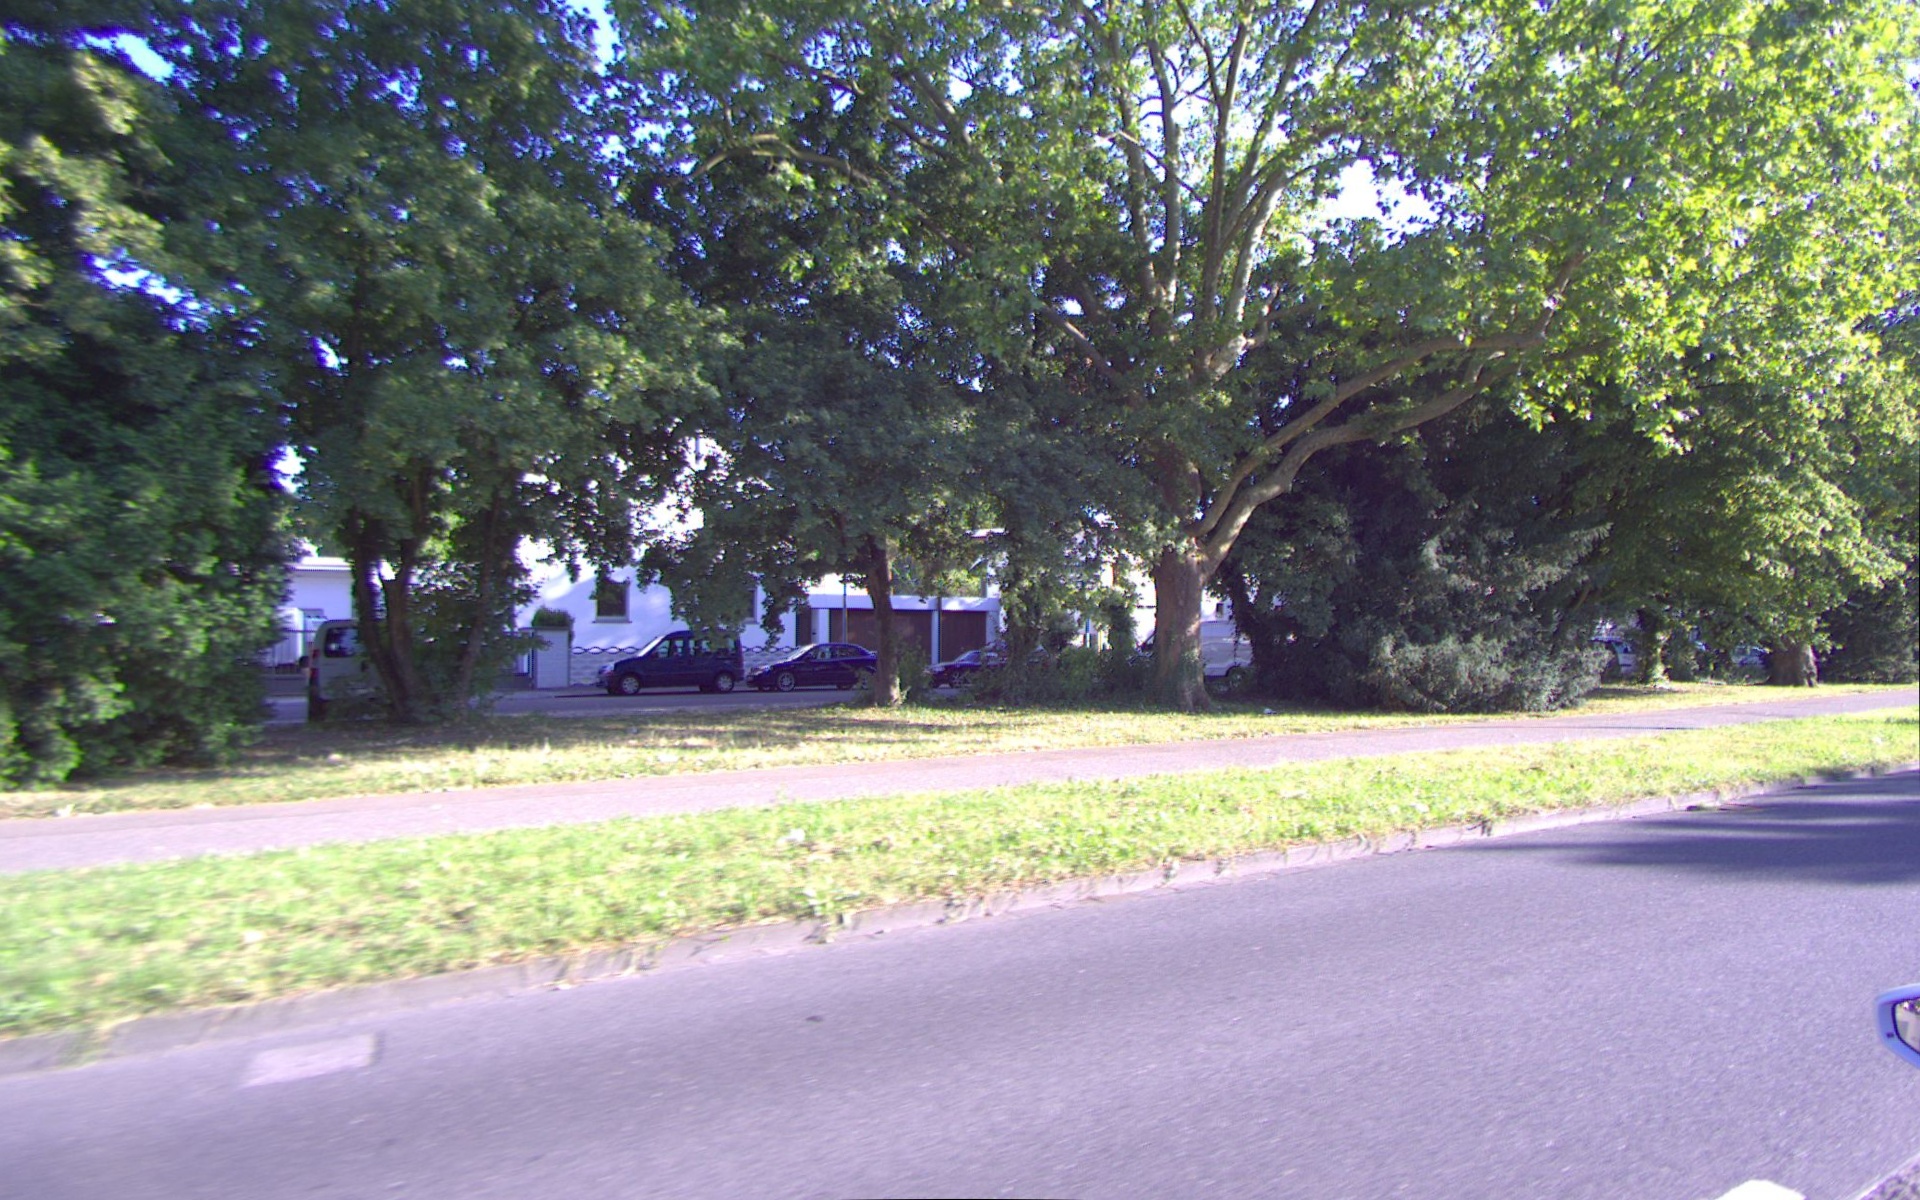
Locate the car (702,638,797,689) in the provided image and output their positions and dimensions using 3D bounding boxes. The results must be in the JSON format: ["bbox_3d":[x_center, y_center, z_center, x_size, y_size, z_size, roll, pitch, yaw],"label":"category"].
[{"bbox_3d":[-7.071,2.055,33.494,1.903,1.572,3.967,2,-2,-31],"label":"car"}]

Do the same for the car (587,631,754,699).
[{"bbox_3d":[-8.020,1.787,27.900,4.128,1.763,1.884,2,-4,-31],"label":"car"}]

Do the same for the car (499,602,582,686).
[{"bbox_3d":[-12.695,1.307,30.256,1.974,2.319,4.300,1,-2,-27],"label":"car"}]

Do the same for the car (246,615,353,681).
[{"bbox_3d":[-24.142,1.752,36.894,1.966,2.278,3.991,1,-2,-13],"label":"car"}]

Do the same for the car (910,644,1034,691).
[{"bbox_3d":[0.406,2.204,33.014,3.721,1.459,1.769,2,-4,-31],"label":"car"}]

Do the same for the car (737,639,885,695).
[{"bbox_3d":[-4.444,1.988,30.070,4.024,1.574,1.817,2,-4,-31],"label":"car"}]

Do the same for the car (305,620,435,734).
[{"bbox_3d":[-10.157,1.286,17.183,1.709,1.705,3.965,2,-4,-33],"label":"car"}]

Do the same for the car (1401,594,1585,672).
[{"bbox_3d":[18.852,1.268,35.835,2.163,2.534,5.401,2,-4,-33],"label":"car"}]

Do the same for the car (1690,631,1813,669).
[{"bbox_3d":[34.969,2.166,44.456,1.895,1.528,3.958,2,-1,-37],"label":"car"}]

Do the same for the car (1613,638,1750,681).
[{"bbox_3d":[28.731,2.353,40.102,1.936,1.617,4.093,2,-3,-38],"label":"car"}]

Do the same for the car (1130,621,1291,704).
[{"bbox_3d":[6.815,1.636,27.636,1.891,2.072,3.957,-1,-1,-38],"label":"car"}]

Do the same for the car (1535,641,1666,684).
[{"bbox_3d":[23.733,2.279,37.334,1.795,1.520,3.704,1,-3,-34],"label":"car"}]
